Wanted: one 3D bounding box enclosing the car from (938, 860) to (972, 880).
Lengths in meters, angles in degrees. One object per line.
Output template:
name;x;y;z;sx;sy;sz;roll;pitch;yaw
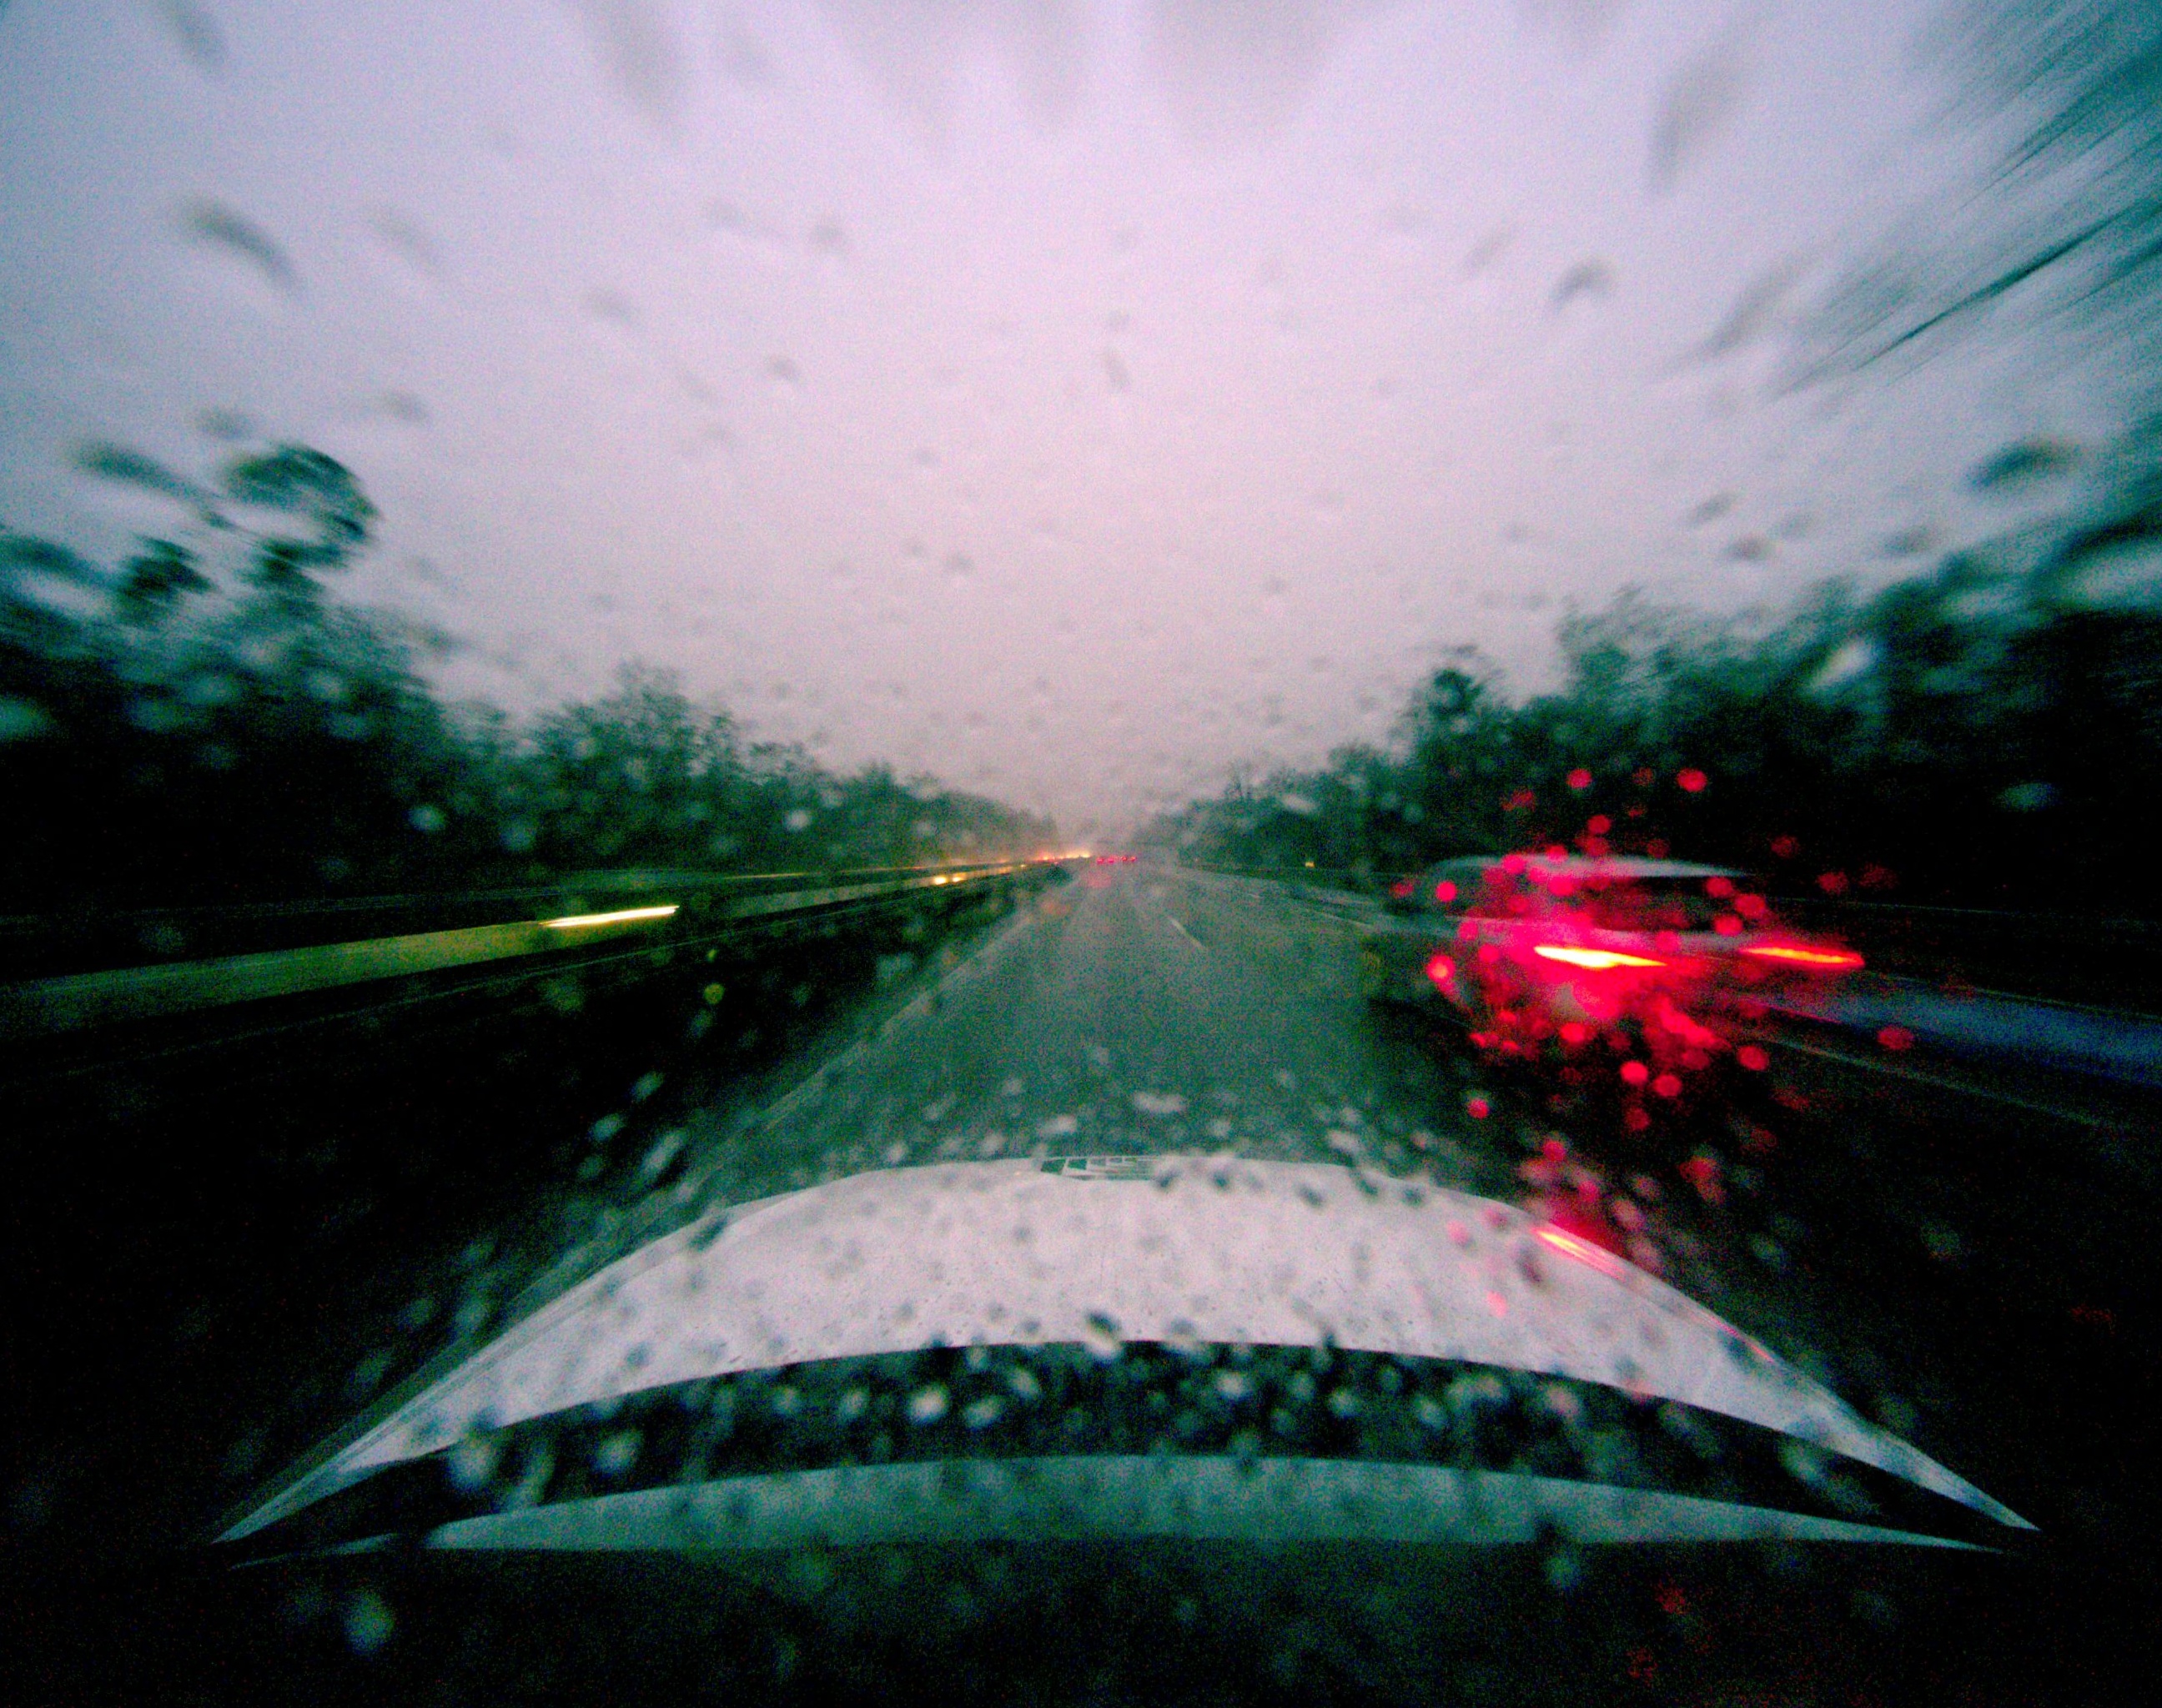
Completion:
car;-9.704;1.183;63.006;1.720;1.460;4.419;1;0;2

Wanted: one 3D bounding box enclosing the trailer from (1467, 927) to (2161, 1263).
trailer;3.631;1.003;4.411;1.741;0.925;2.952;-1;0;2

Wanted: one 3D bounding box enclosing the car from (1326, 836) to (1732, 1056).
car;3.719;0.656;7.633;1.780;1.516;3.813;-1;0;2
